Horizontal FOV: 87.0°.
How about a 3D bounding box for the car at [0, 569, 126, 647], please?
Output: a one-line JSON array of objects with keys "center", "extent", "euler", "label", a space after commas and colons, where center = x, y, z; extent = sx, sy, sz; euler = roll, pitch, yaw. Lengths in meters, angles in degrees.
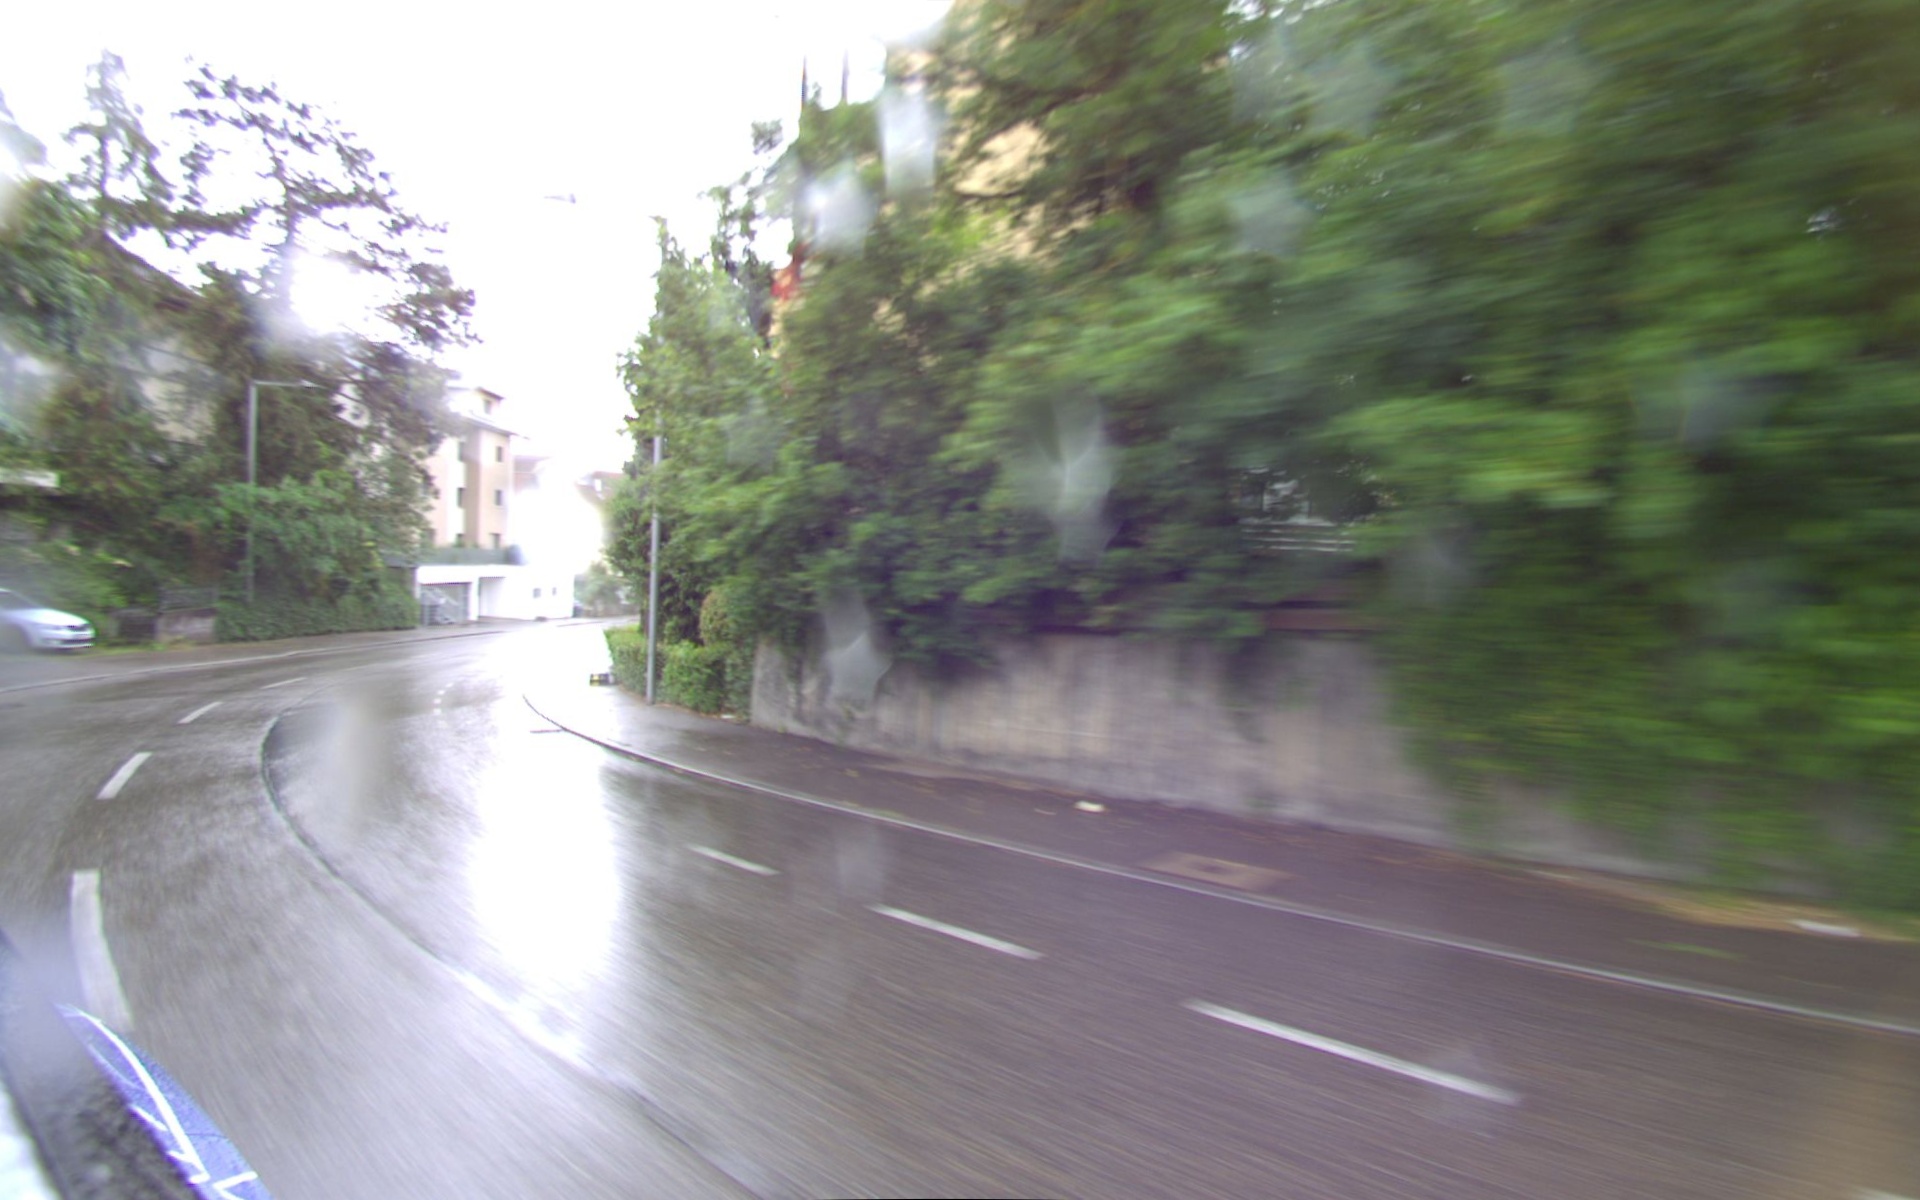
[{"center": [-22.621, 0.065, 23.529], "extent": [4.492, 1.565, 2.004], "euler": [5, -1, -9], "label": "car"}]
